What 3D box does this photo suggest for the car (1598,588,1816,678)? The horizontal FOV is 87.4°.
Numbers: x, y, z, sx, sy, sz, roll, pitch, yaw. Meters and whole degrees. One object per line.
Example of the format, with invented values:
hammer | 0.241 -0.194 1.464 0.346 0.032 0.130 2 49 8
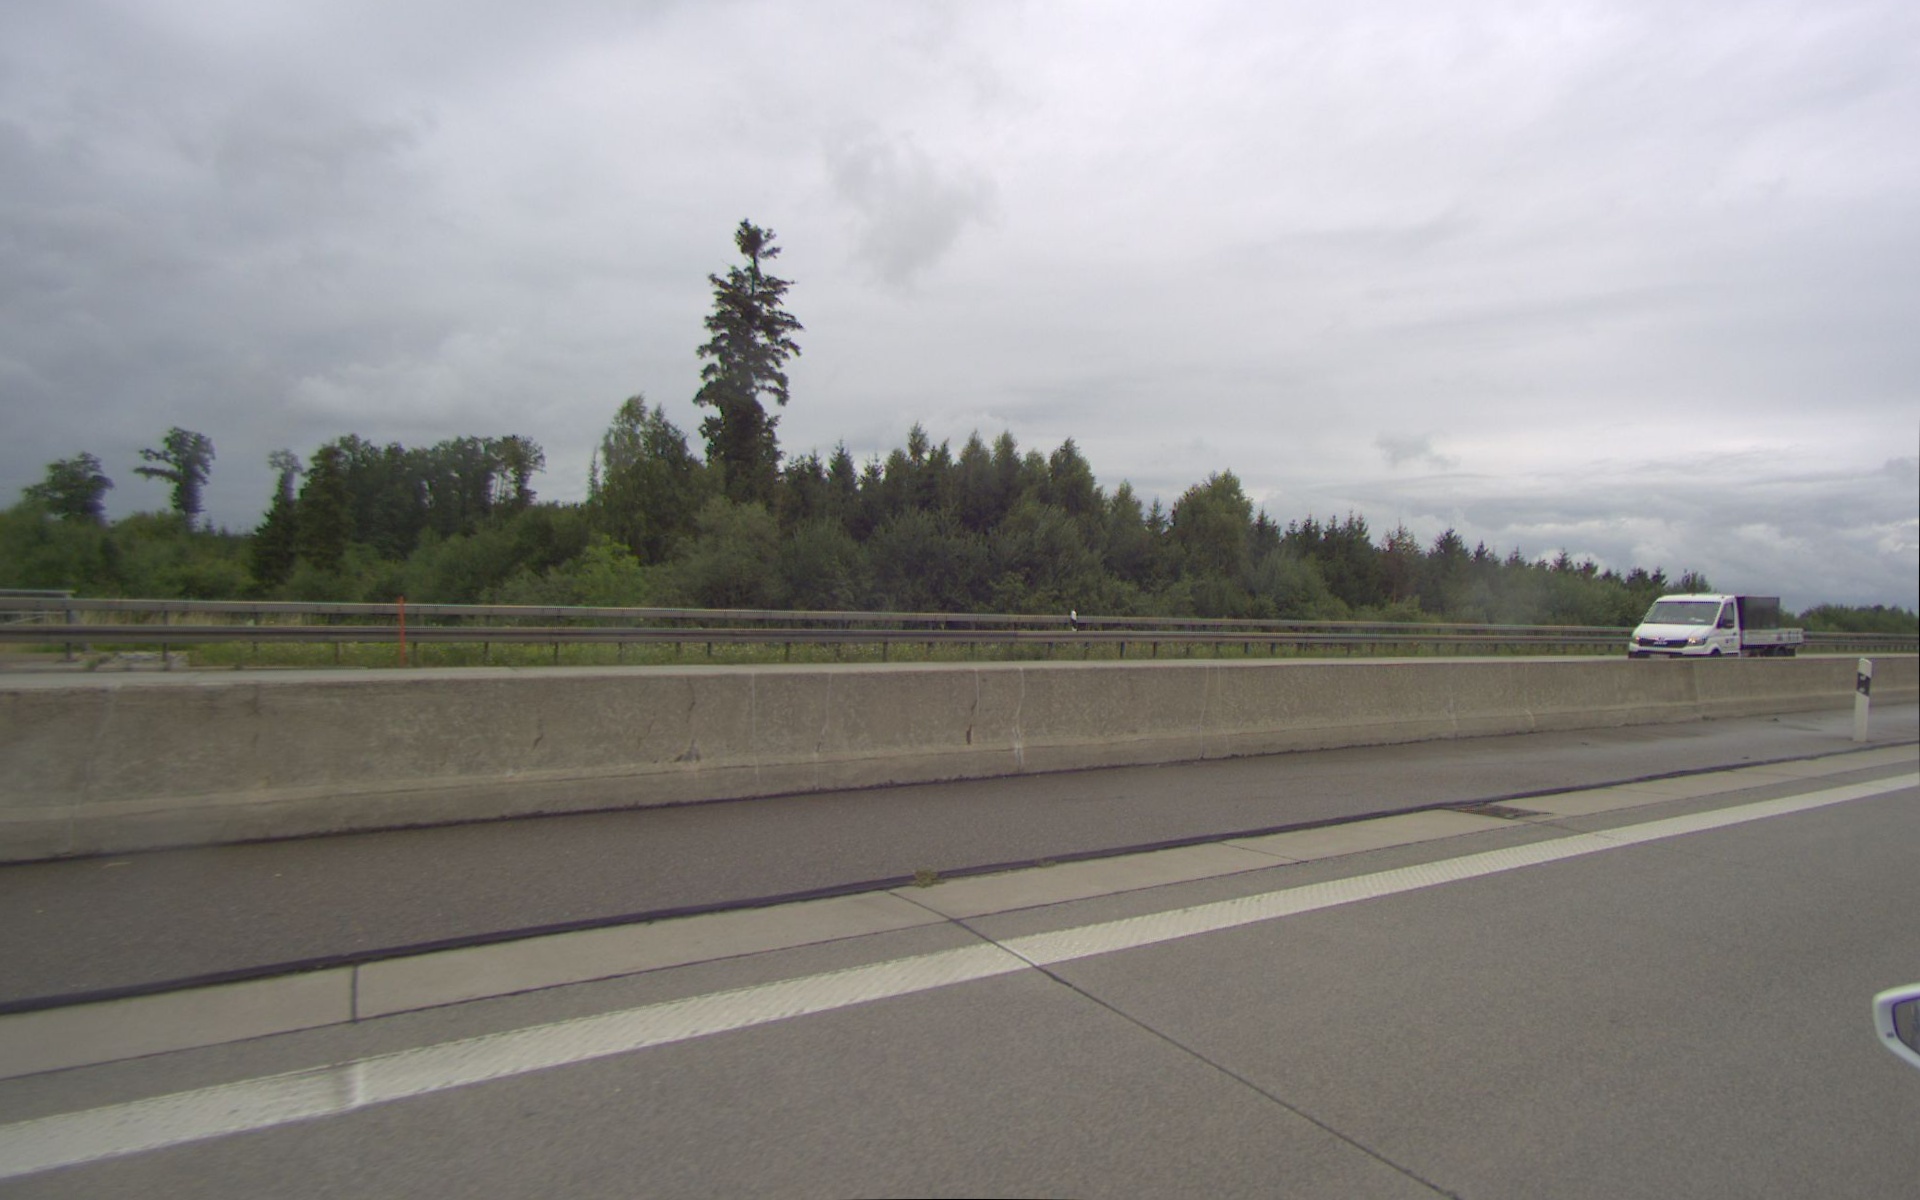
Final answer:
car | 22.528 0.979 30.183 7.430 2.432 2.607 2 0 -31
